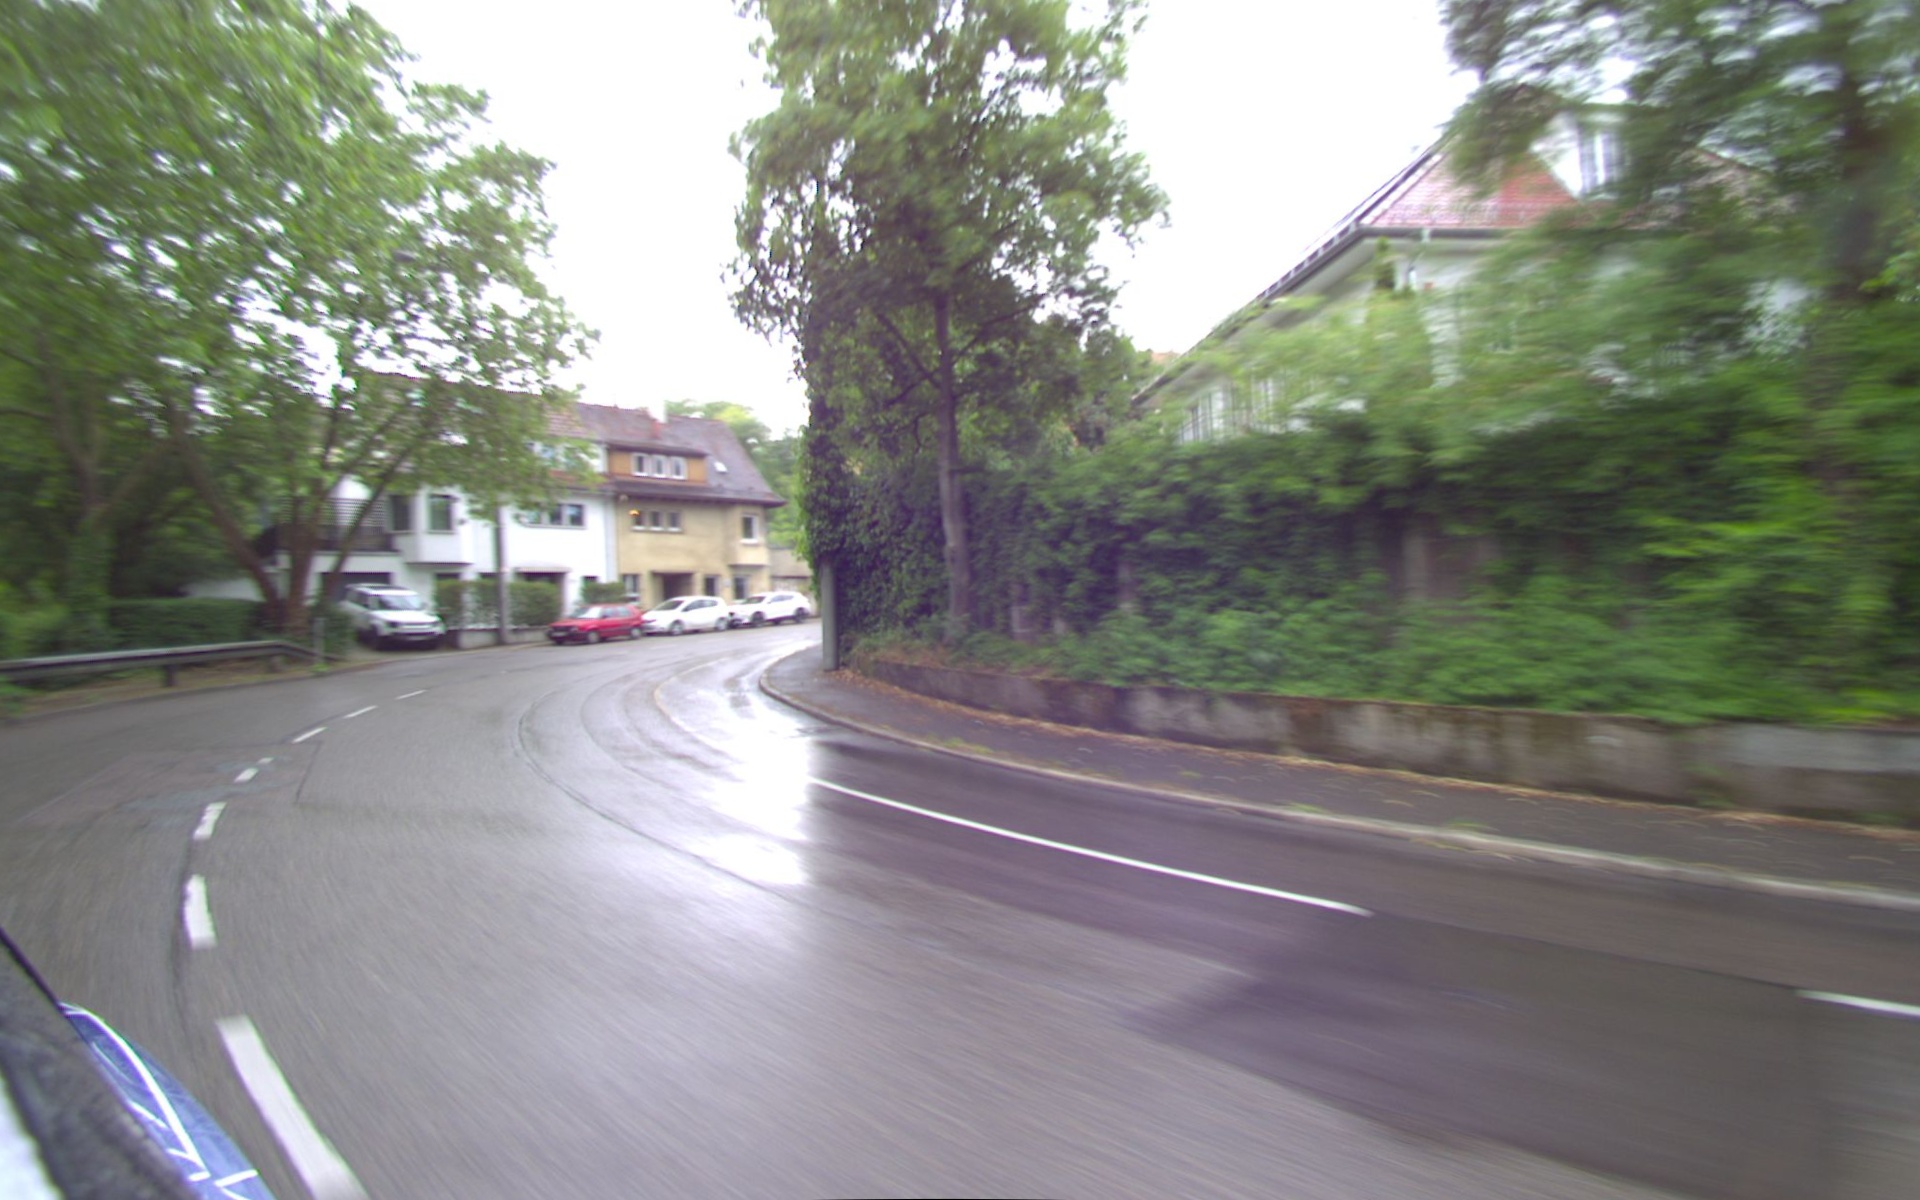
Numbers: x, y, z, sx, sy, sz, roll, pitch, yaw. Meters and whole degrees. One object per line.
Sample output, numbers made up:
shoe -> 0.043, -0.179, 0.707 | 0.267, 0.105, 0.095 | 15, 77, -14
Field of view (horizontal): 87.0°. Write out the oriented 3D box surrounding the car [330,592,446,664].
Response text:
car -> -19.379, 0.889, 34.226 | 4.264, 1.938, 1.933 | 6, 4, 39

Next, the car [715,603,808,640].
car -> -8.854, 0.925, 45.401 | 1.631, 1.528, 4.040 | -1, 0, 36

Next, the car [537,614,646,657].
car -> -13.430, 1.254, 37.143 | 1.622, 1.431, 3.974 | -1, 0, 20

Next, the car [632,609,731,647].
car -> -11.402, 1.132, 41.647 | 1.628, 1.431, 3.959 | -1, 0, 30
